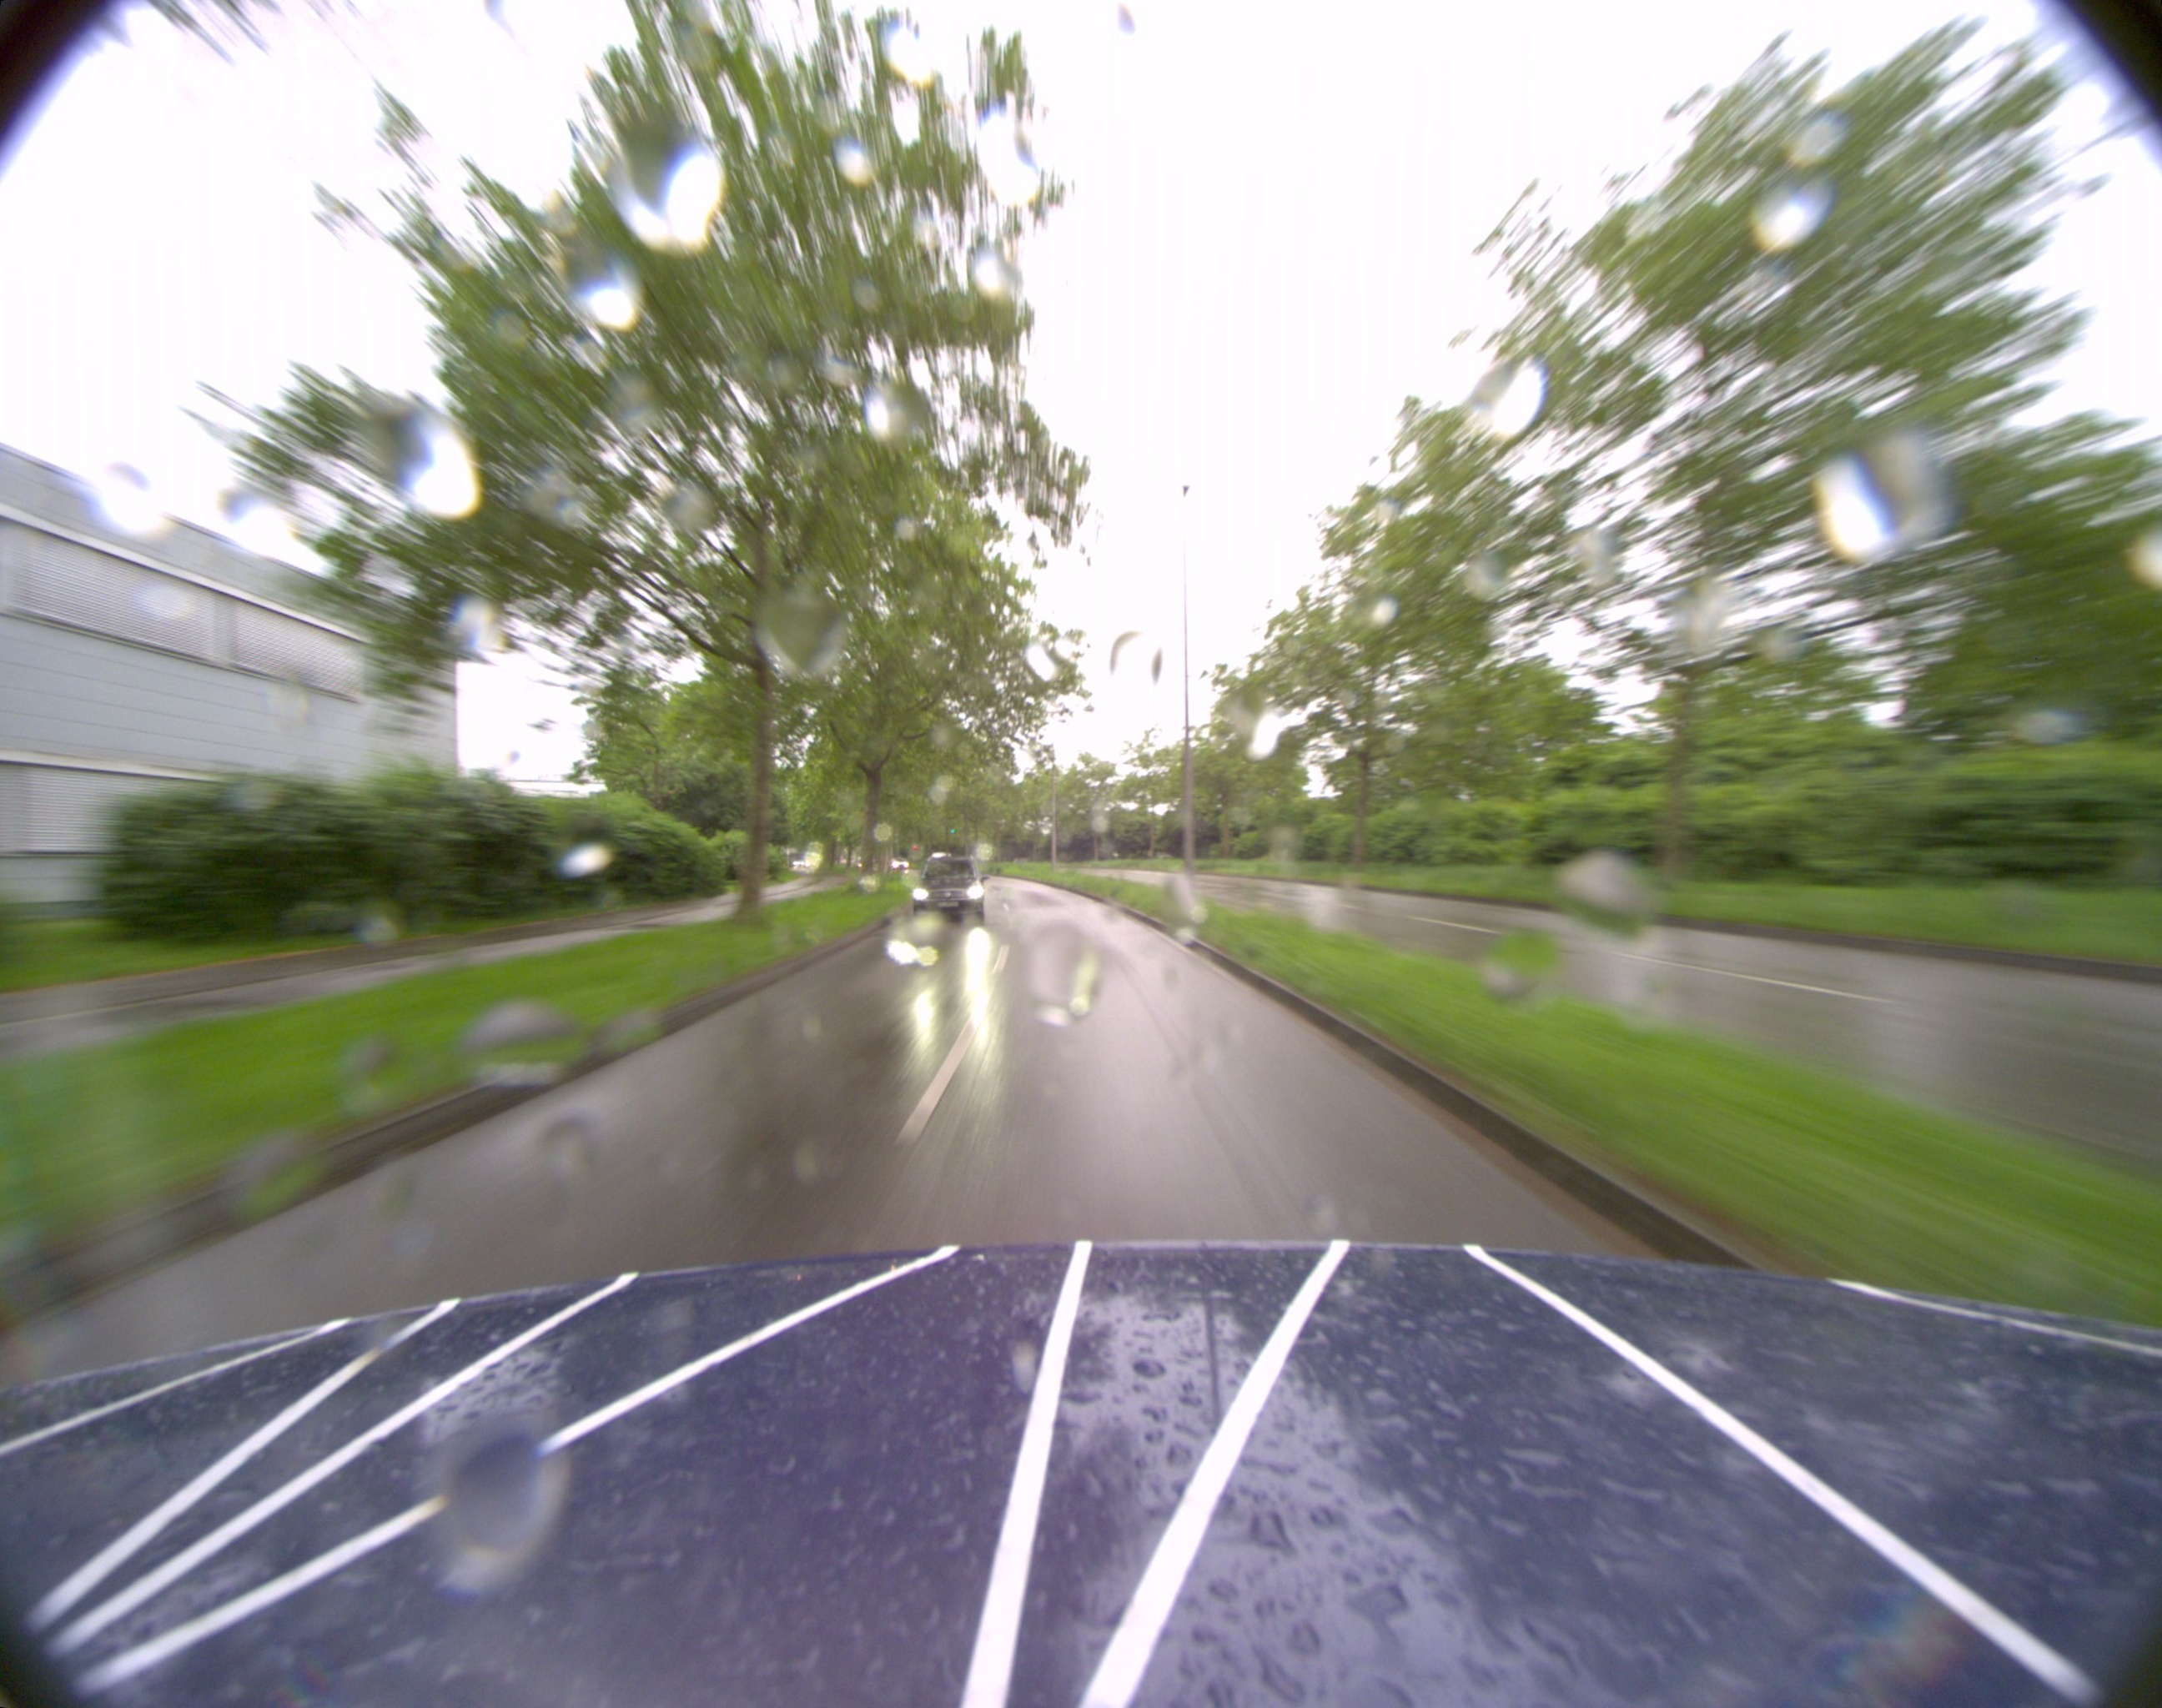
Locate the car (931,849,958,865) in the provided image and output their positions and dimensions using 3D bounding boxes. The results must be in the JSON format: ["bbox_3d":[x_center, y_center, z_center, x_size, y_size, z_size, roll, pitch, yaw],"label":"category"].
[{"bbox_3d":[-22.772,0.506,126.191,2.289,2.412,6.344,-1,0,-31],"label":"car"}]

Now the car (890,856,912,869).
[{"bbox_3d":[-21.715,1.036,91.622,1.787,1.546,3.992,-1,0,-24],"label":"car"}]

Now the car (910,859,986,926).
[{"bbox_3d":[-3.531,0.962,20.695,1.785,1.546,3.997,-3,0,-7],"label":"car"}]

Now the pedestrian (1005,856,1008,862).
[{"bbox_3d":[-11.943,0.823,121.555,0.476,1.034,0.441,-1,0,-22],"label":"pedestrian"}]
